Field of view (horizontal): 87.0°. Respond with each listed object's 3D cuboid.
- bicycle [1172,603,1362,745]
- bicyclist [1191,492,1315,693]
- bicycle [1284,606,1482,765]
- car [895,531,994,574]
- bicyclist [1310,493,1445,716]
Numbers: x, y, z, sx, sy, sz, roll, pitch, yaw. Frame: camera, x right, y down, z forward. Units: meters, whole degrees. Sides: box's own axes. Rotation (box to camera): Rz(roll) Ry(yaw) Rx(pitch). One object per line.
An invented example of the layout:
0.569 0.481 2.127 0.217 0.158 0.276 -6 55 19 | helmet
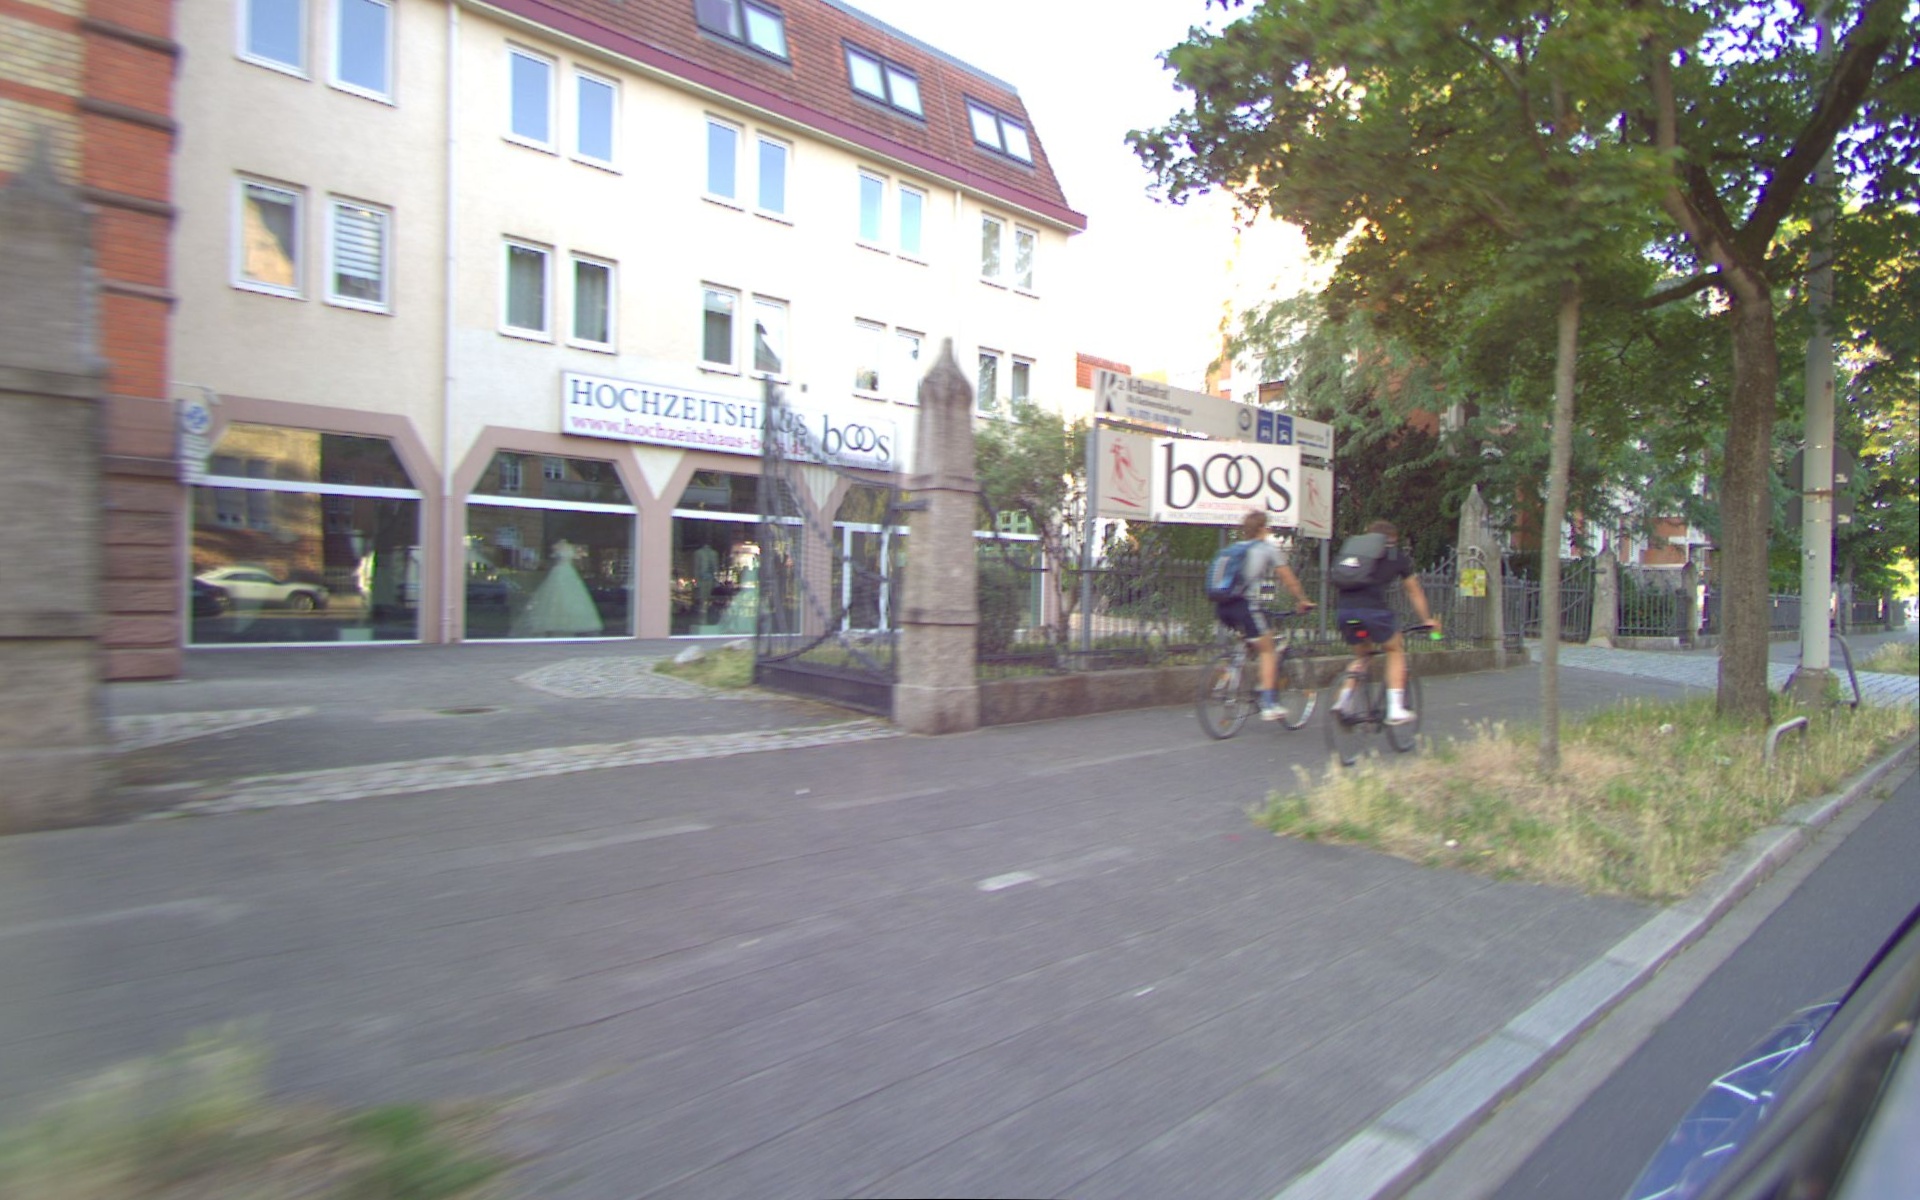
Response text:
2.602 0.559 8.439 2.053 1.053 0.518 0 -1 -42 | bicycle
2.412 -0.056 8.327 0.878 1.552 0.596 0 -1 -41 | bicyclist
3.249 0.578 7.670 2.053 1.053 0.545 0 -1 -42 | bicycle
-0.709 -2.018 42.614 1.788 1.503 4.455 0 5 -38 | car
3.122 0.029 7.557 0.878 1.552 0.596 0 -1 -41 | bicyclist
